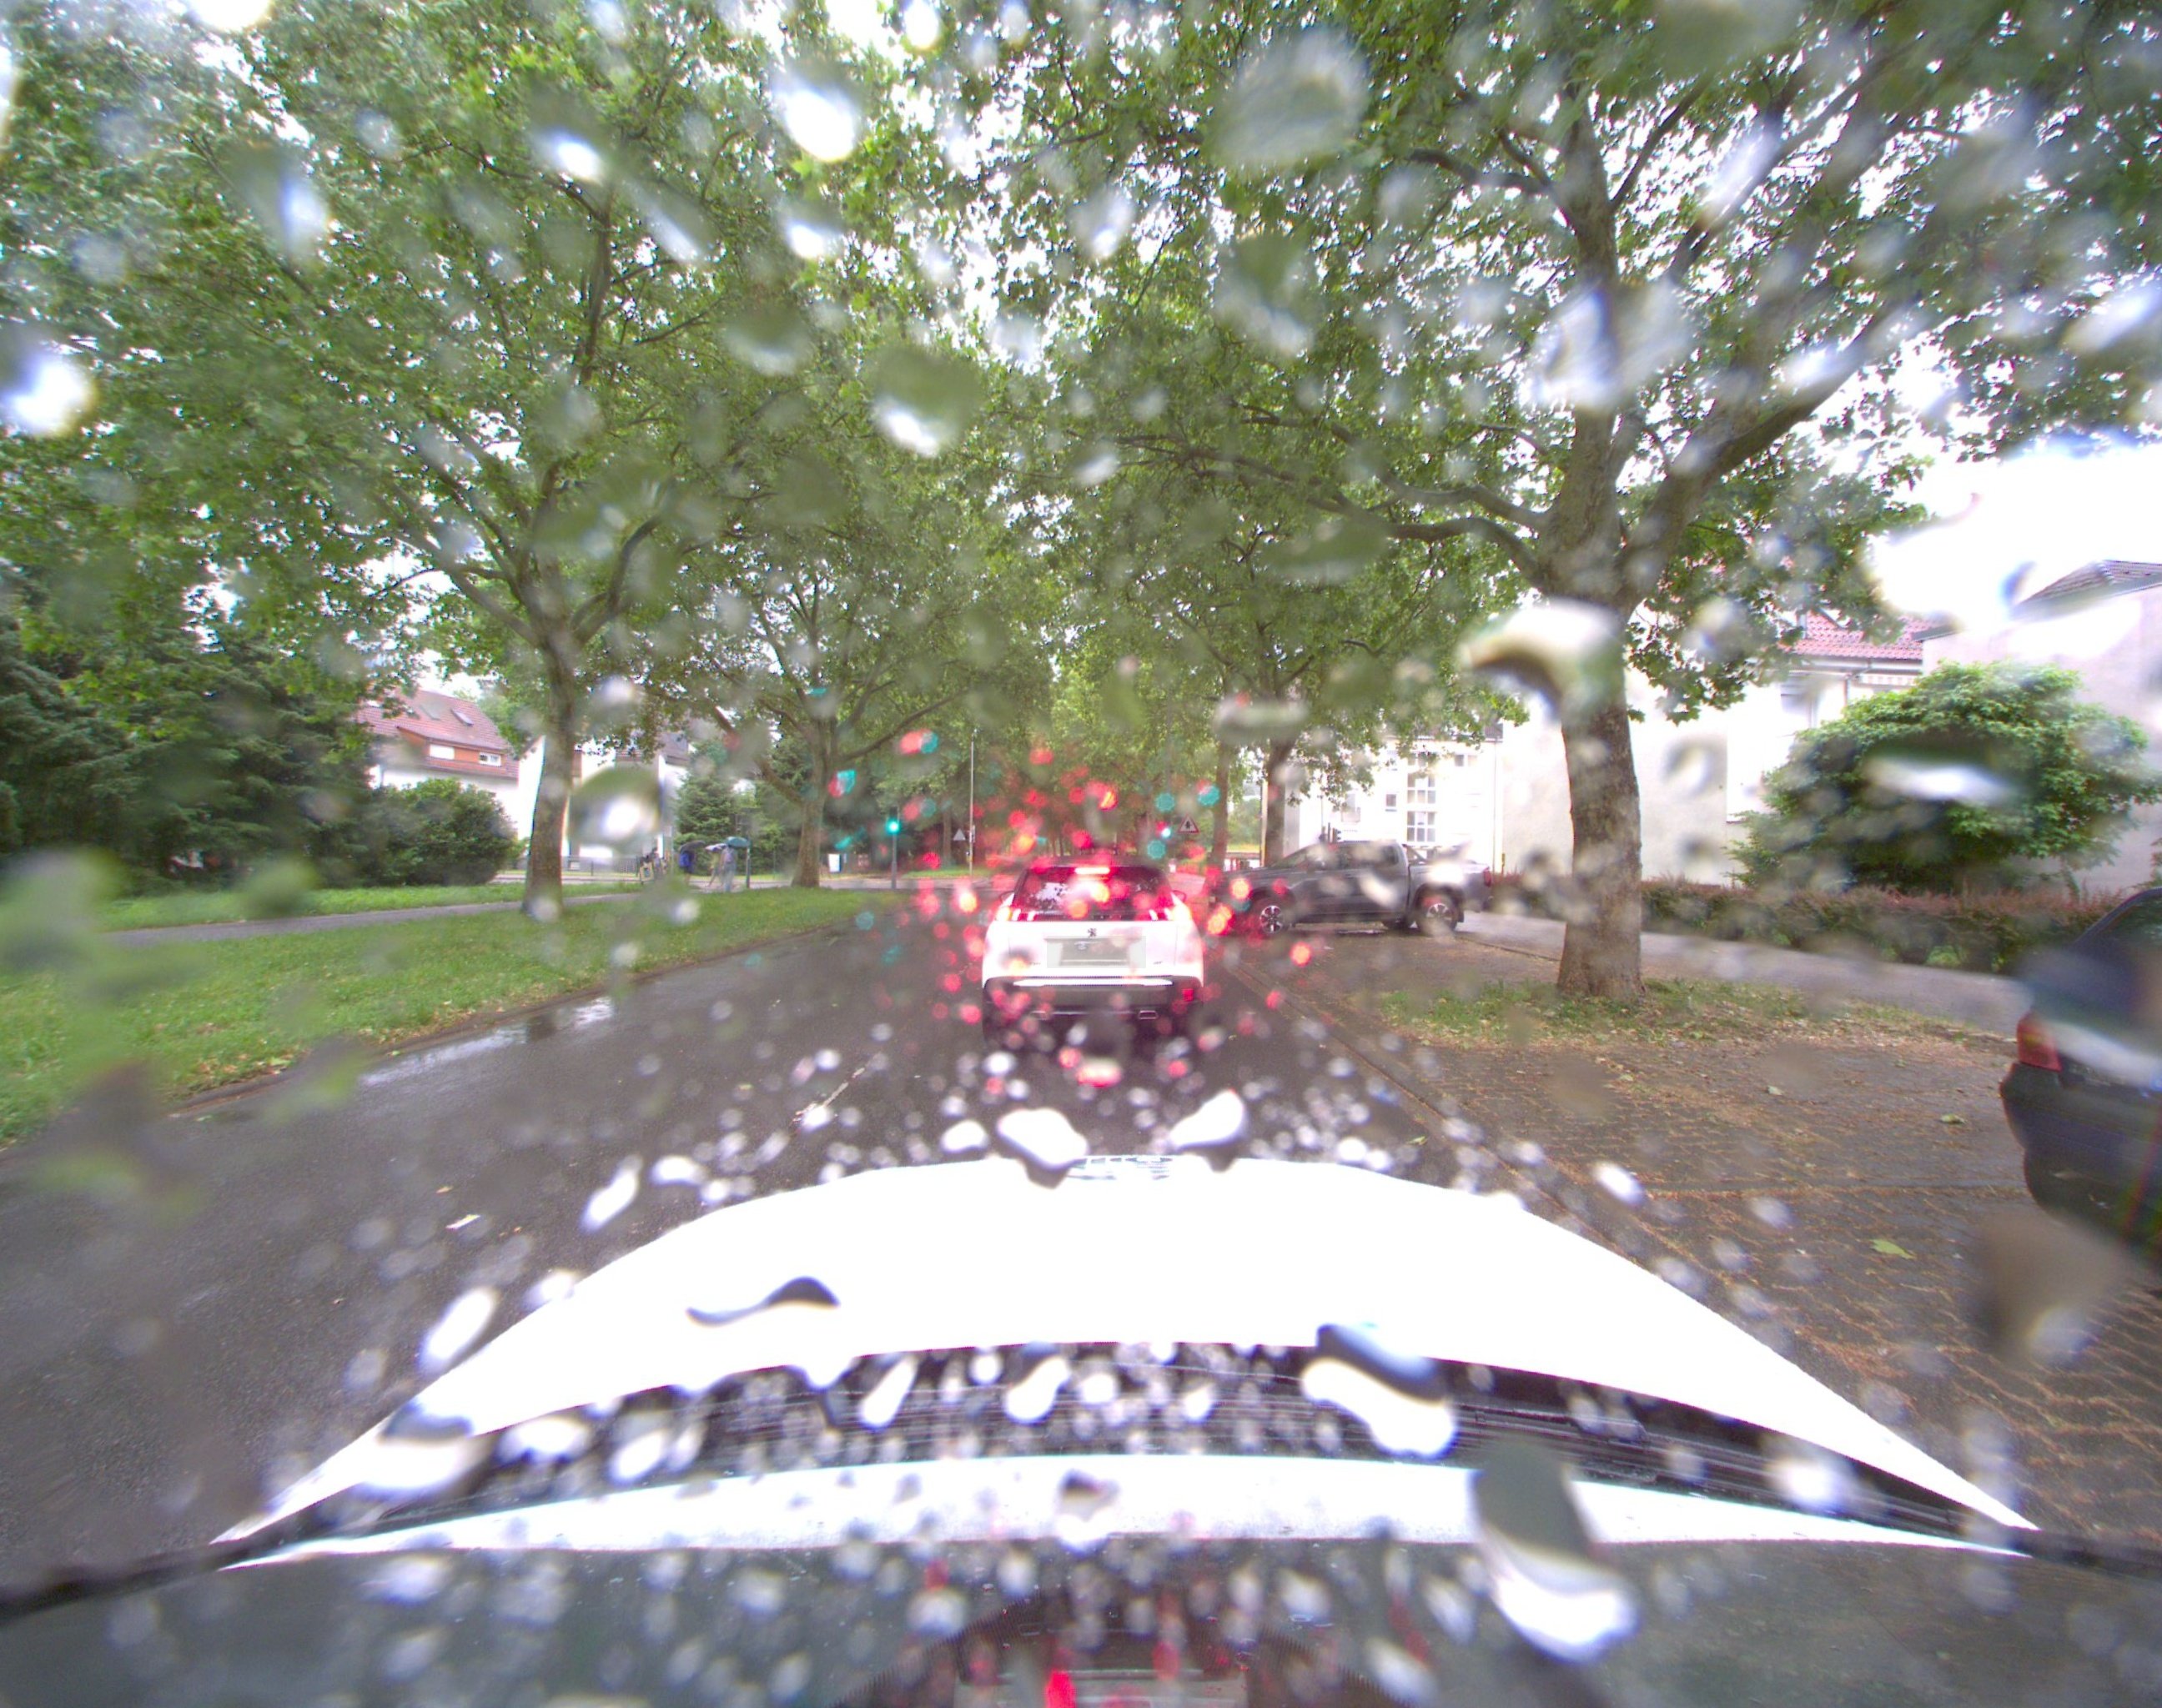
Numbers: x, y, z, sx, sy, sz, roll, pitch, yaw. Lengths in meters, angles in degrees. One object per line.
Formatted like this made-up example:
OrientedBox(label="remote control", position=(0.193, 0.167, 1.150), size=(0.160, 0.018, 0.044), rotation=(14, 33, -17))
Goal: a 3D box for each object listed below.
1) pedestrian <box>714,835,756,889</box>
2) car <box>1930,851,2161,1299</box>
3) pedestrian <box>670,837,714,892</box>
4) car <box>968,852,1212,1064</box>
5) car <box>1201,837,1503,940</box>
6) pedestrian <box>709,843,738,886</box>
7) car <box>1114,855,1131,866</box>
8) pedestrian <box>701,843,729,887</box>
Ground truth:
OrientedBox(label="pedestrian", position=(-11.485, 0.272, 27.058), size=(1.029, 1.765, 0.838), rotation=(0, 0, 1))
OrientedBox(label="car", position=(5.208, 0.728, 2.604), size=(3.344, 1.464, 1.618), rotation=(0, 0, 0))
OrientedBox(label="pedestrian", position=(-12.889, 0.341, 27.012), size=(1.029, 1.765, 0.879), rotation=(0, 0, 1))
OrientedBox(label="car", position=(0.115, 0.757, 7.964), size=(1.774, 1.536, 4.059), rotation=(0, 0, 1))
OrientedBox(label="car", position=(5.190, 0.616, 15.974), size=(5.330, 1.807, 1.842), rotation=(-1, 0, -6))
OrientedBox(label="pedestrian", position=(-14.562, 0.429, 33.204), size=(0.856, 1.744, 0.639), rotation=(1, 0, -2))
OrientedBox(label="car", position=(5.660, 0.923, 111.795), size=(1.901, 1.510, 3.928), rotation=(1, 0, -2))
OrientedBox(label="pedestrian", position=(-14.425, 0.429, 32.100), size=(0.818, 1.744, 0.639), rotation=(1, 0, -2))
